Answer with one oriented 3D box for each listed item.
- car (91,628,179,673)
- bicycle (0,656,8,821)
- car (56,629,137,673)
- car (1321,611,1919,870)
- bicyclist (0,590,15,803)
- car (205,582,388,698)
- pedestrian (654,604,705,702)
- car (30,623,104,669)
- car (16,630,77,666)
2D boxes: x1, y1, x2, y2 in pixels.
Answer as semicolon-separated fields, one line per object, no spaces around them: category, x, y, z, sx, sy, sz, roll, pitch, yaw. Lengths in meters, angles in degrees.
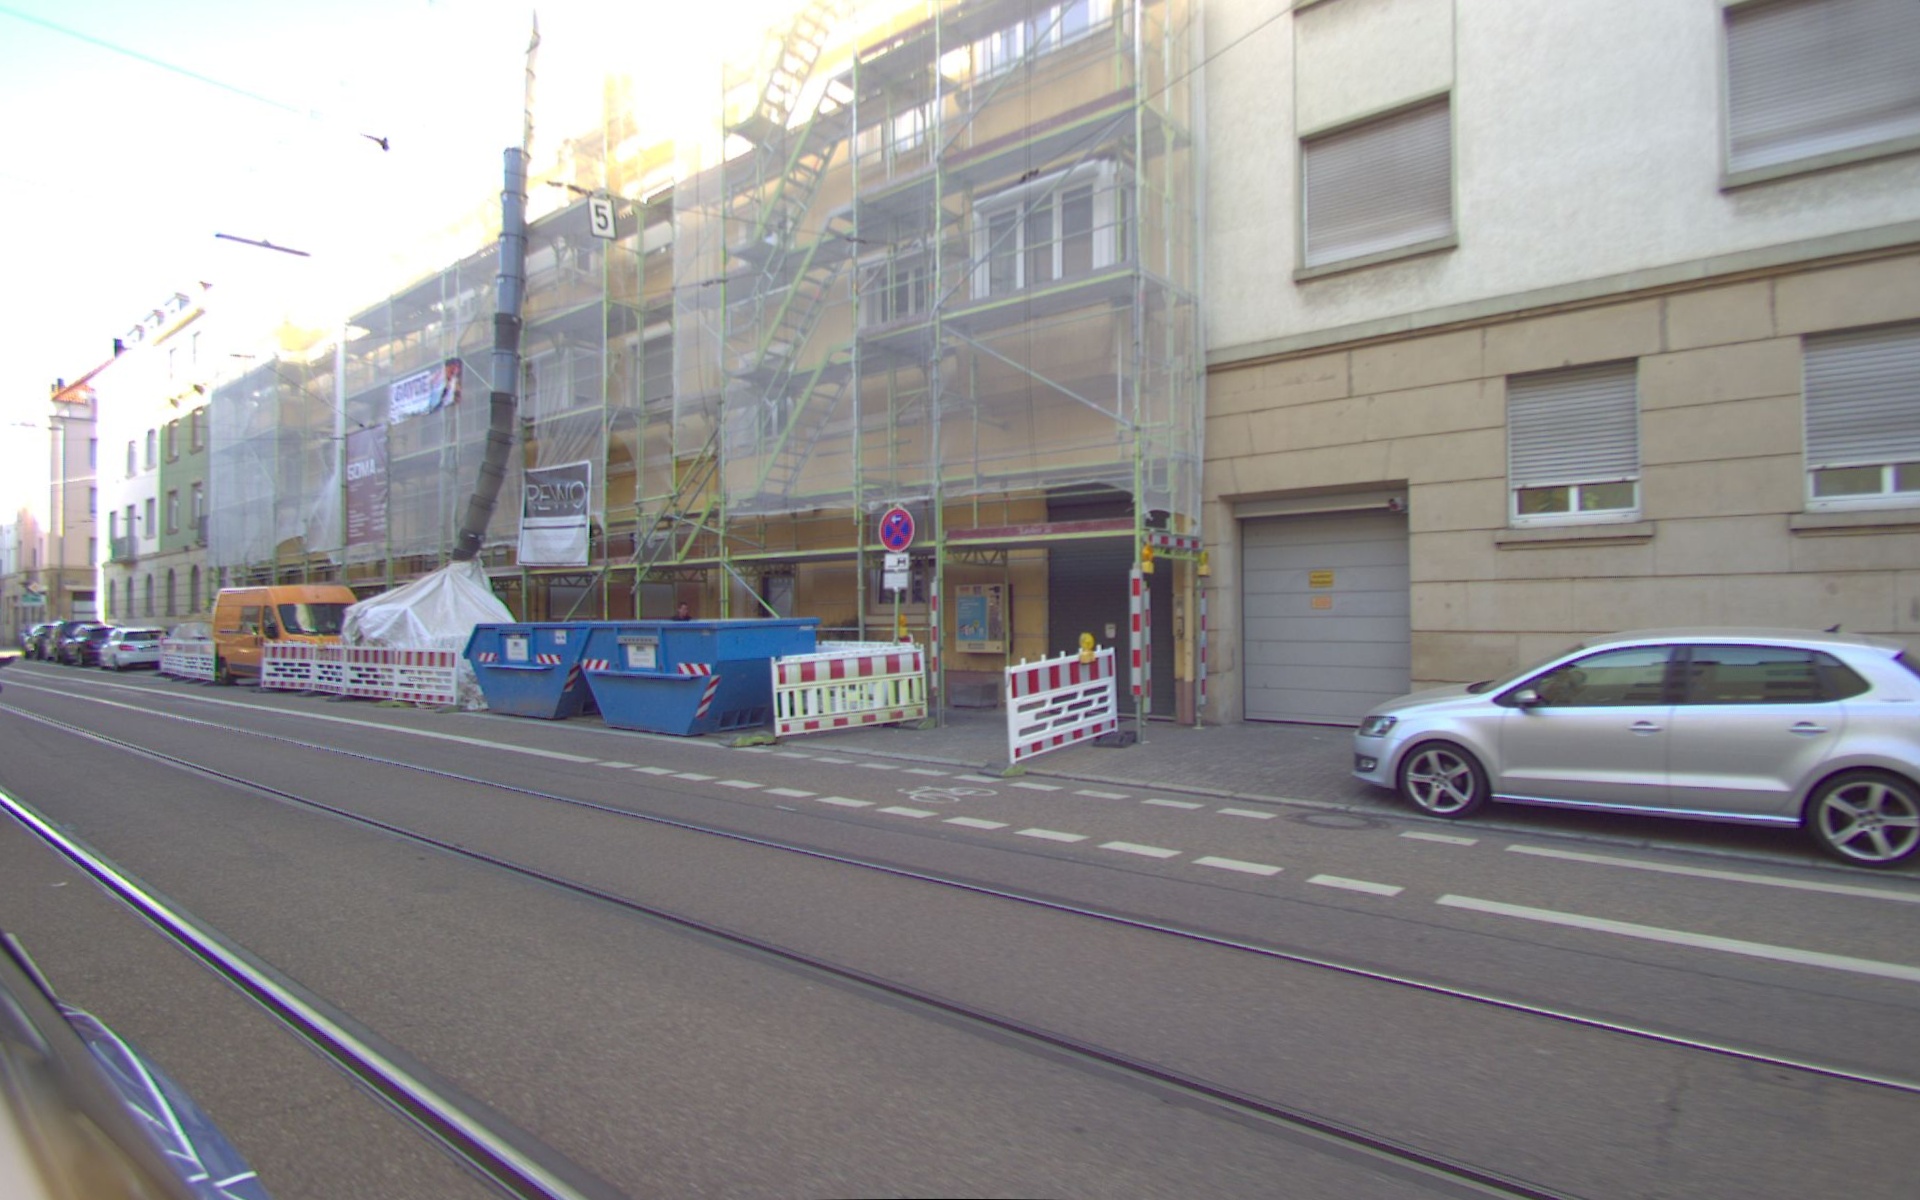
car;-29.632;1.785;36.314;3.997;1.523;1.729;-2;-3;40
bicycle;-7.635;1.037;7.546;0.729;1.186;1.976;1;-2;-43
car;-34.262;1.999;40.119;4.218;1.590;1.681;-2;0;39
car;4.985;0.842;7.511;3.997;1.426;1.682;-1;2;40
bicyclist;-7.640;0.715;7.536;0.831;1.566;0.851;1;-2;-42
car;-16.212;0.954;24.571;5.996;2.488;2.098;-2;-3;40
pedestrian;-4.998;0.928;18.029;0.716;1.707;0.574;-2;-2;40
car;-38.813;1.977;43.968;3.765;1.860;1.776;-2;0;39
car;-42.624;2.214;47.194;3.769;1.622;1.774;-2;-2;43
